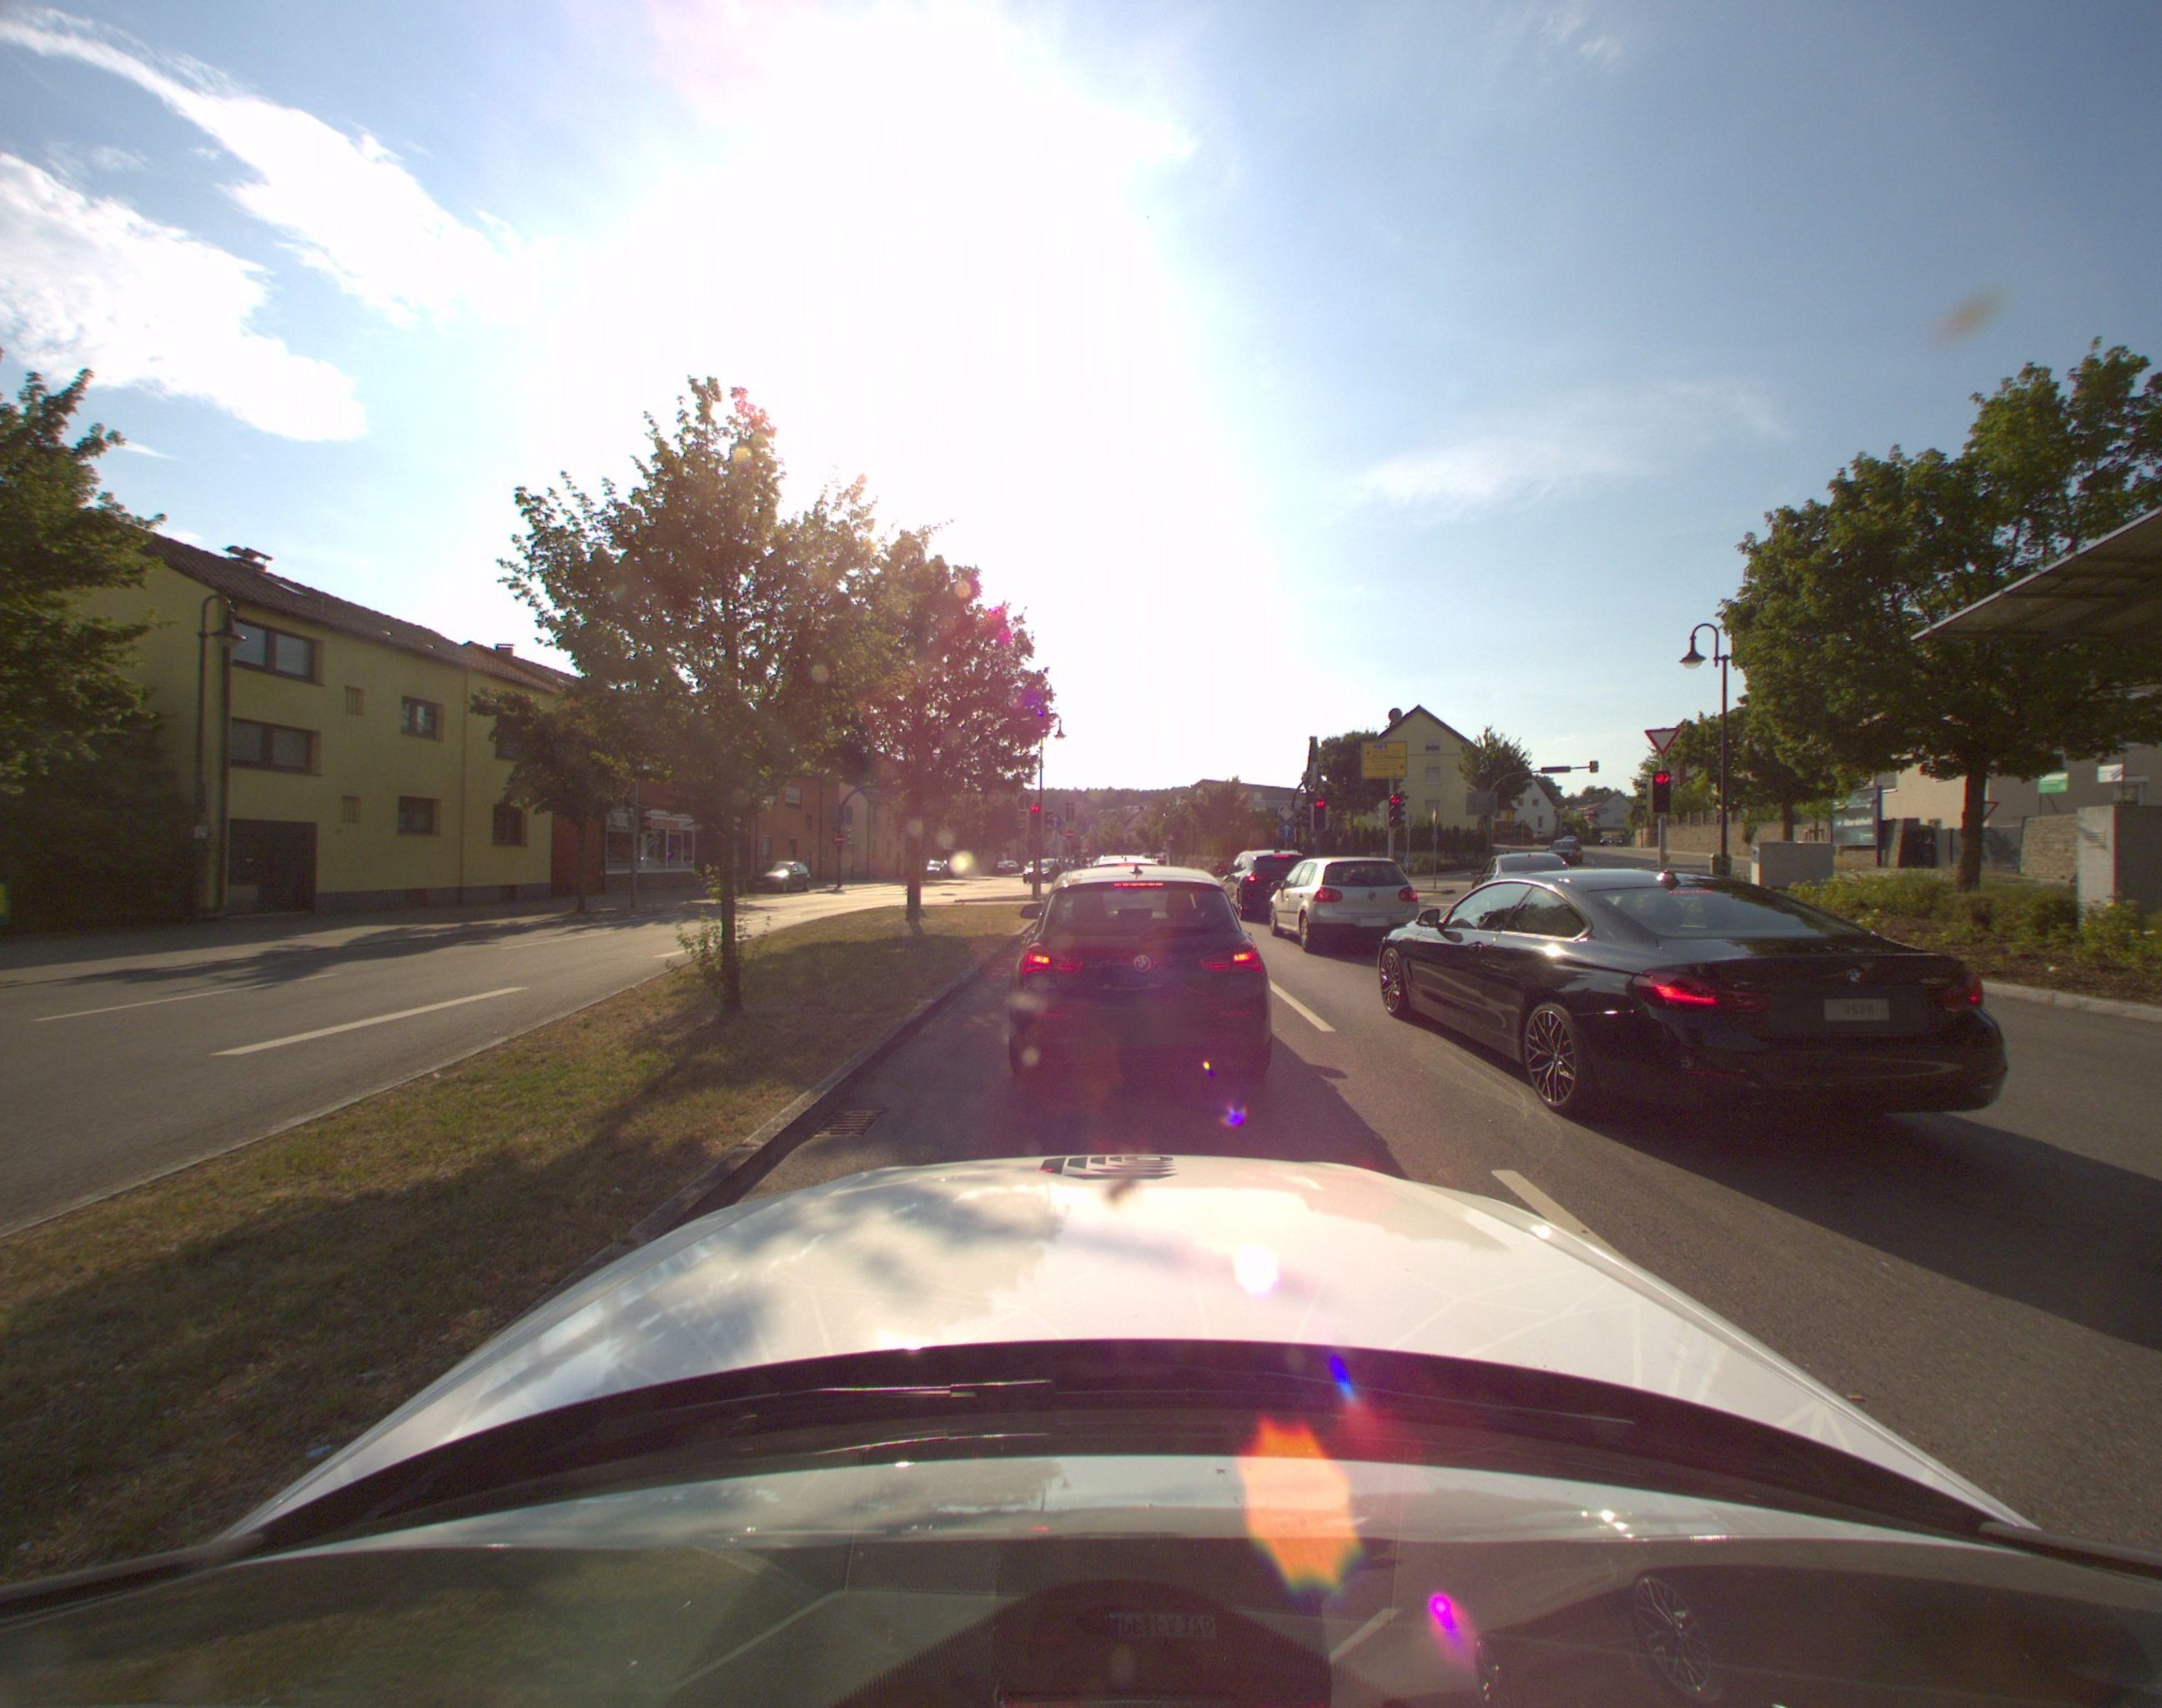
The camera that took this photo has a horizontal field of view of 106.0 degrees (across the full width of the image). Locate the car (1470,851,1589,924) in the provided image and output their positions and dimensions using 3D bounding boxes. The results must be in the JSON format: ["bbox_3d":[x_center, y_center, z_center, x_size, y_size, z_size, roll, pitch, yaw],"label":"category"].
[{"bbox_3d":[9.898,0.659,18.296,1.667,1.435,4.613,-1,0,21],"label":"car"}]

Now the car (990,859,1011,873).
[{"bbox_3d":[-9.619,1.392,97.712,1.916,1.596,4.004,0,0,4],"label":"car"}]

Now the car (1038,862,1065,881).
[{"bbox_3d":[-2.252,1.332,62.450,1.685,1.353,4.004,0,0,4],"label":"car"}]

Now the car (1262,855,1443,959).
[{"bbox_3d":[4.295,0.748,13.637,1.808,1.446,4.351,-1,0,3],"label":"car"}]

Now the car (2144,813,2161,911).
[{"bbox_3d":[19.436,0.118,12.214,3.958,1.608,1.861,0,0,14],"label":"car"}]

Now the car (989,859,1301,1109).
[{"bbox_3d":[0.494,0.765,6.881,1.783,1.414,4.351,-1,0,3],"label":"car"}]

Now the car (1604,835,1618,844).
[{"bbox_3d":[92.563,-2.479,142.268,1.759,1.580,4.025,-1,0,37],"label":"car"}]

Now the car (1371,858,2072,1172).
[{"bbox_3d":[3.648,0.738,5.855,1.808,1.388,4.351,-1,0,3],"label":"car"}]

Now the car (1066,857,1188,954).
[{"bbox_3d":[0.819,0.787,14.401,1.808,1.451,4.245,-1,0,3],"label":"car"}]

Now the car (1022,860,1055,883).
[{"bbox_3d":[-2.849,1.177,55.035,1.759,1.458,4.004,0,0,4],"label":"car"}]

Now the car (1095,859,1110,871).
[{"bbox_3d":[3.249,1.651,126.148,1.887,1.702,4.518,-2,0,-4],"label":"car"}]

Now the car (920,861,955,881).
[{"bbox_3d":[-11.831,1.401,67.392,1.916,1.596,4.004,0,0,4],"label":"car"}]

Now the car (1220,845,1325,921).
[{"bbox_3d":[4.598,0.652,20.174,1.808,1.666,4.351,-1,0,3],"label":"car"}]

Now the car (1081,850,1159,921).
[{"bbox_3d":[1.044,0.730,21.129,1.808,1.641,4.245,-1,0,3],"label":"car"}]

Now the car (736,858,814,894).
[{"bbox_3d":[-14.179,0.985,38.008,1.835,1.552,4.005,2,0,5],"label":"car"}]

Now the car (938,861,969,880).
[{"bbox_3d":[-11.465,1.489,73.235,1.916,1.596,4.004,0,0,4],"label":"car"}]

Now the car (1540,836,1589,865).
[{"bbox_3d":[30.760,-0.206,51.784,1.769,1.507,4.095,-2,3,44],"label":"car"}]

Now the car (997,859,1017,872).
[{"bbox_3d":[-9.312,1.402,103.214,1.916,1.596,4.004,0,0,4],"label":"car"}]

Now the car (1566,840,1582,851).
[{"bbox_3d":[63.882,-1.109,105.460,1.694,1.244,4.027,0,4,33],"label":"car"}]

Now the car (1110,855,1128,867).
[{"bbox_3d":[4.851,0.944,105.298,1.858,1.485,4.652,0,0,-4],"label":"car"}]

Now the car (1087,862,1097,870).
[{"bbox_3d":[2.121,2.307,161.193,1.917,1.596,4.002,0,0,2],"label":"car"}]
